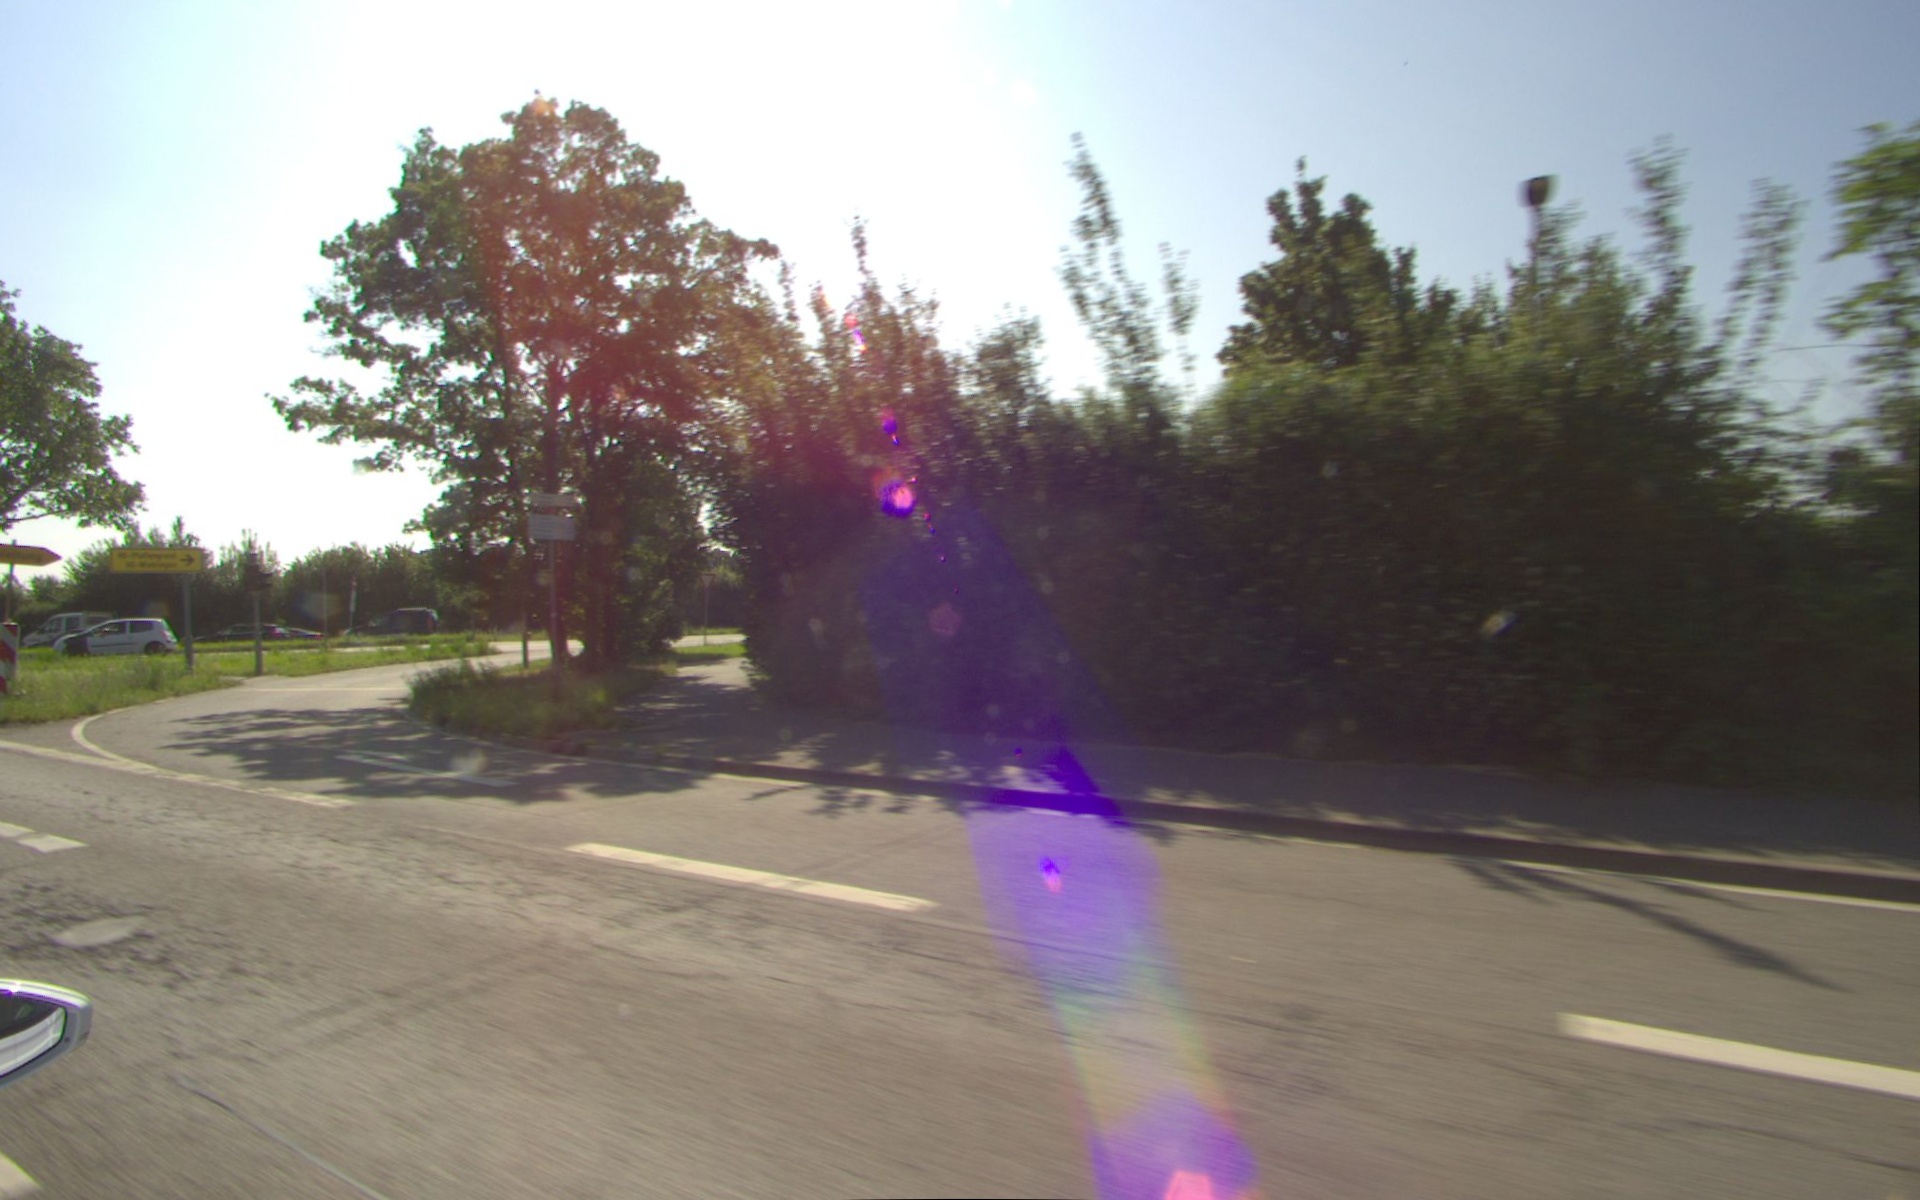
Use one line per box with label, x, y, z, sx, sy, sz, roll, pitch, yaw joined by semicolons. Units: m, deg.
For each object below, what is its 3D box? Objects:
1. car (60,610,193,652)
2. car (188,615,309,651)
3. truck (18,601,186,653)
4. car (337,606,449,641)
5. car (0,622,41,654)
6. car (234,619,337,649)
car;-31.894;1.157;38.461;3.705;1.488;1.774;-1;0;-34
car;-34.195;1.608;48.210;4.383;1.655;1.887;0;-2;-7
truck;-42.962;1.378;50.271;6.349;2.416;2.347;-1;-2;-1
car;-27.670;1.164;48.983;4.387;1.655;1.886;0;-2;-14
car;-48.915;1.926;50.459;3.750;1.567;1.622;-1;-2;2
car;-34.556;1.732;51.400;3.923;1.438;1.891;-1;-2;-7
